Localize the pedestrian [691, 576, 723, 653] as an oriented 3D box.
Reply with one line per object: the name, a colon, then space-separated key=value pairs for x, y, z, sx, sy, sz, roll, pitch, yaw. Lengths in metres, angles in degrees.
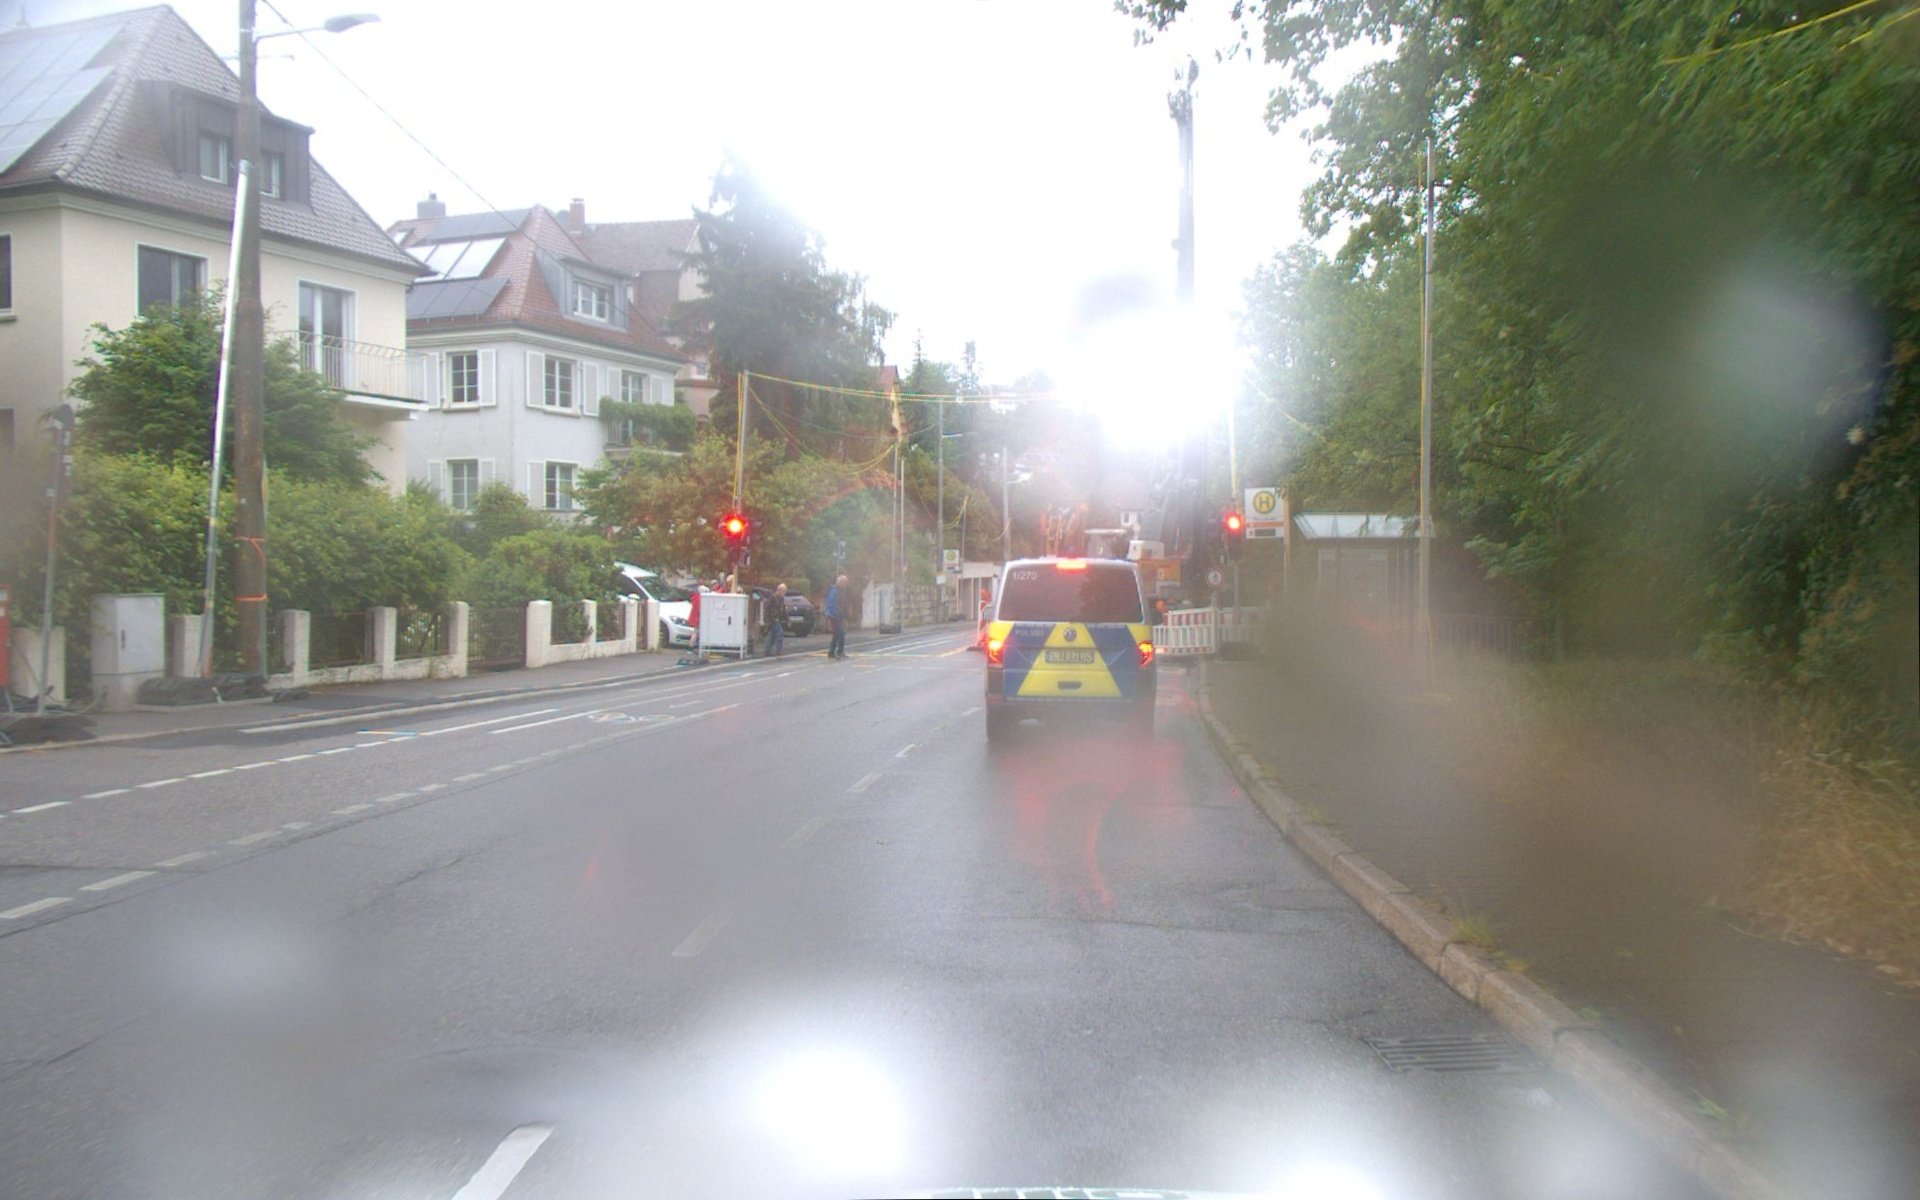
pedestrian: x=-5.712 y=0.331 z=37.335 sx=0.537 sy=1.697 sz=0.414 roll=2 pitch=-2 yaw=6

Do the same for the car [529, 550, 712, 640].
car: x=-8.208 y=-0.123 z=40.059 sx=3.902 sy=2.049 sz=1.831 roll=1 pitch=0 yaw=16

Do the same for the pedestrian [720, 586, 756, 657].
pedestrian: x=-4.981 y=0.491 z=37.112 sx=0.613 sy=1.548 sz=0.593 roll=2 pitch=-2 yaw=6

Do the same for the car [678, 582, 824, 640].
car: x=-6.229 y=0.339 z=49.542 sx=3.902 sy=1.512 sz=1.761 roll=2 pitch=-2 yaw=15

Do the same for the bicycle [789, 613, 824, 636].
bicycle: x=-4.858 y=0.767 z=52.384 sx=1.031 sy=0.674 sz=0.320 roll=2 pitch=-2 yaw=14

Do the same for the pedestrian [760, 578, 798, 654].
pedestrian: x=-4.033 y=0.362 z=36.835 sx=0.671 sy=1.632 sz=0.606 roll=2 pitch=-2 yaw=3

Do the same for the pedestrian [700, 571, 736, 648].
pedestrian: x=-5.642 y=0.227 z=38.577 sx=0.613 sy=1.745 sz=0.593 roll=2 pitch=-2 yaw=6

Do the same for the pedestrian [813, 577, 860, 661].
pedestrian: x=-2.742 y=0.426 z=36.923 sx=0.871 sy=1.819 sz=0.829 roll=2 pitch=-2 yaw=3

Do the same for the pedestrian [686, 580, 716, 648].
pedestrian: x=-5.951 y=0.321 z=38.023 sx=0.514 sy=1.533 sz=0.429 roll=2 pitch=-2 yaw=6

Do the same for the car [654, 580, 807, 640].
car: x=-6.550 y=0.295 z=47.410 sx=3.902 sy=1.512 sz=1.761 roll=2 pitch=-2 yaw=15

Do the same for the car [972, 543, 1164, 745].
car: x=1.344 y=0.427 z=19.096 sx=1.951 sy=2.049 sz=4.405 roll=0 pitch=0 yaw=6

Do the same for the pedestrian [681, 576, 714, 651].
pedestrian: x=-5.803 y=0.308 z=36.552 sx=0.551 sy=1.610 sz=0.468 roll=2 pitch=-2 yaw=6
